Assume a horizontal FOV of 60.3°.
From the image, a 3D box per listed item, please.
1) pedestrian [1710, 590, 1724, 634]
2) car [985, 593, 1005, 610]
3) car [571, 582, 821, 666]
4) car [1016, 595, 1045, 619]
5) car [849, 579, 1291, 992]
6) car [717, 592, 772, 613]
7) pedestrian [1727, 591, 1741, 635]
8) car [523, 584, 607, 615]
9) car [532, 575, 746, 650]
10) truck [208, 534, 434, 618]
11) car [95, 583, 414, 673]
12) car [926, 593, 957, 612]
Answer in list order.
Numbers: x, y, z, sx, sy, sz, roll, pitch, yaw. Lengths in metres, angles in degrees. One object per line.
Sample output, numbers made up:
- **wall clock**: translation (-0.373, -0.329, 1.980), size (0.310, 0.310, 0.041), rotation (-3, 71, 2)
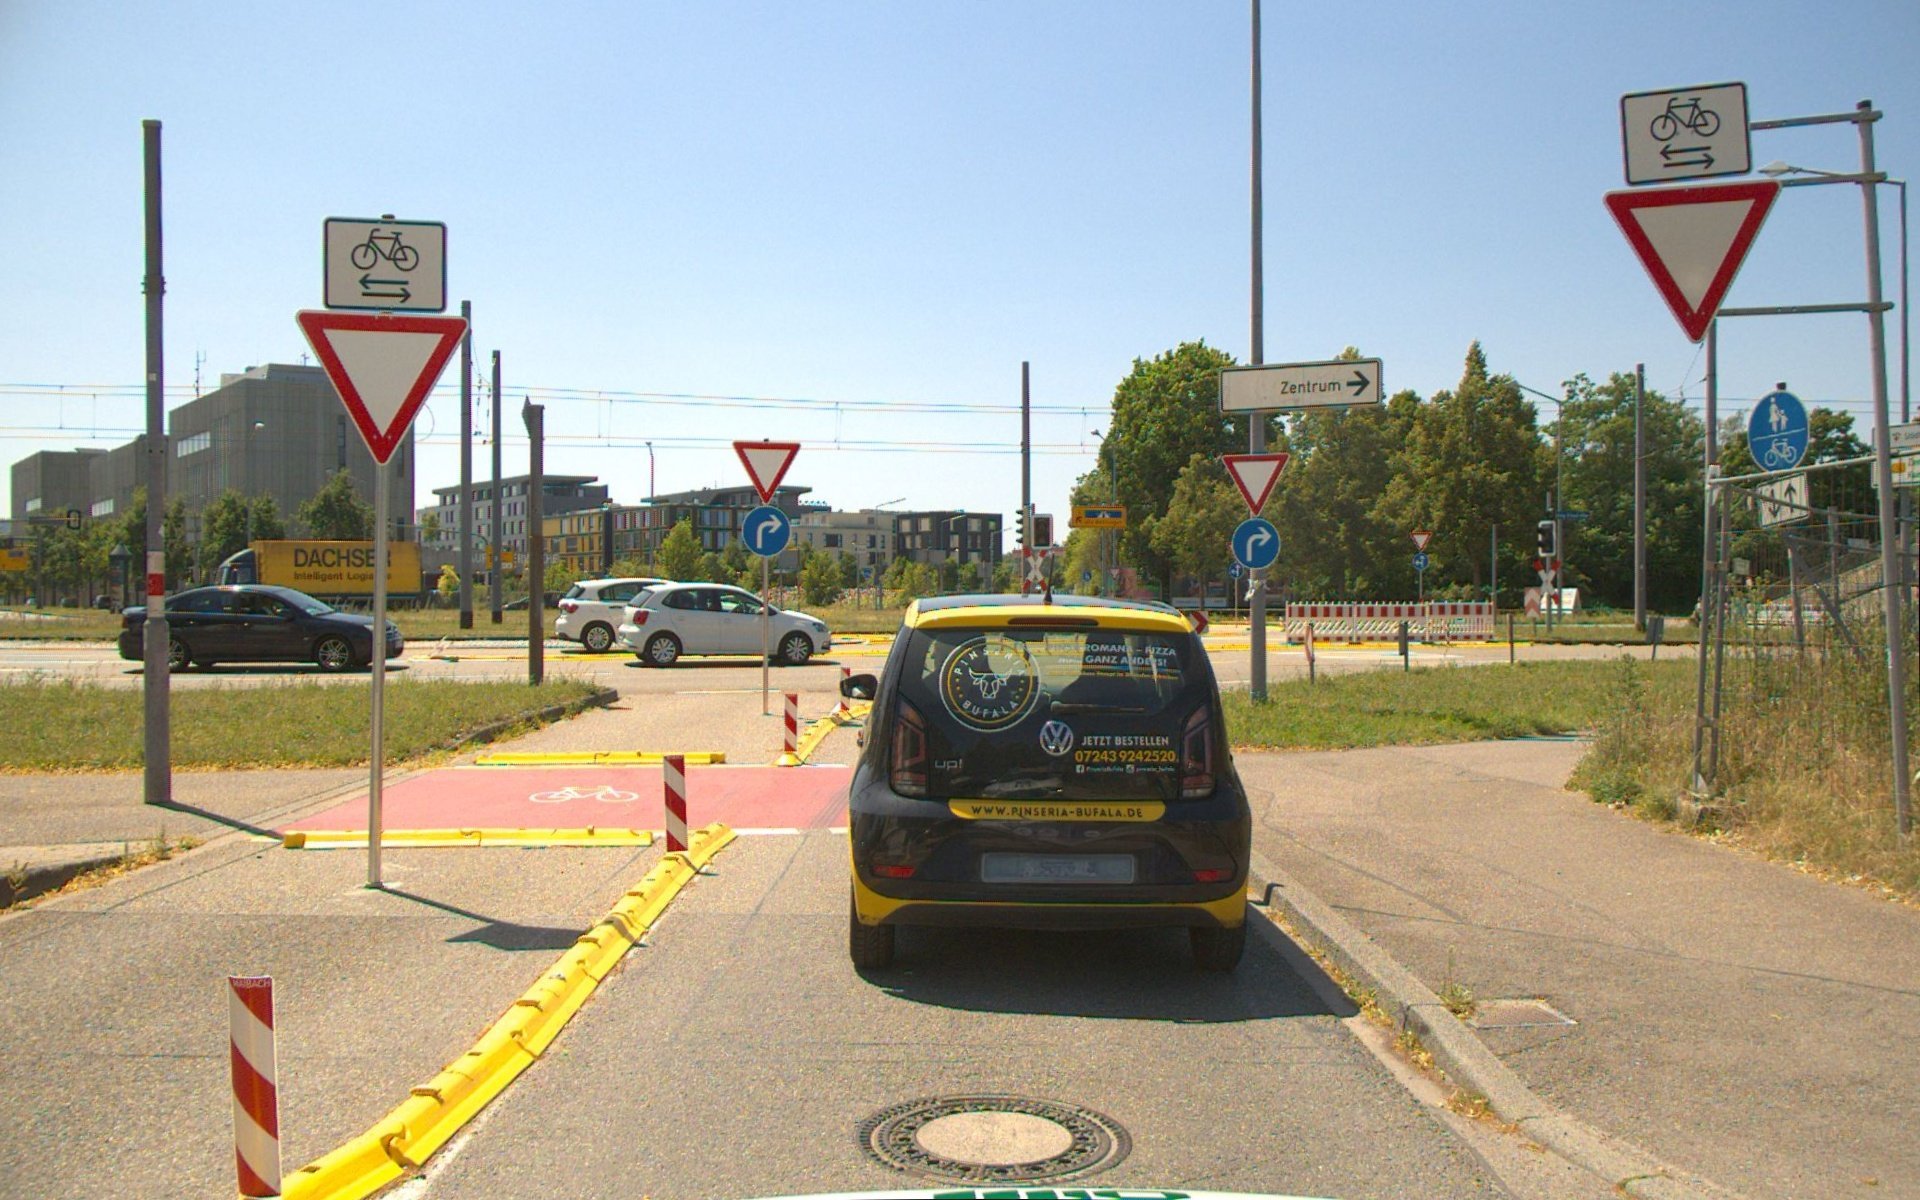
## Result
- **pedestrian**: translation (30.713, 0.497, 67.082), size (0.438, 1.769, 0.291), rotation (0, 0, 11)
- **car**: translation (2.953, 0.098, 139.491), size (1.488, 1.418, 3.285), rotation (0, 0, 4)
- **car**: translation (-4.887, 0.445, 30.588), size (4.276, 1.474, 1.844), rotation (1, 0, -22)
- **car**: translation (4.193, 0.383, 98.540), size (1.623, 1.396, 3.033), rotation (0, 0, 5)
- **car**: translation (0.365, 0.668, 8.002), size (1.586, 1.477, 3.985), rotation (1, 0, -1)
- **car**: translation (-12.094, 0.146, 92.889), size (2.854, 1.175, 1.193), rotation (0, 0, -29)
- **pedestrian**: translation (31.335, 0.508, 66.977), size (0.438, 1.769, 0.318), rotation (0, 0, 11)
- **car**: translation (-19.466, -0.041, 81.585), size (3.966, 1.486, 1.724), rotation (0, 0, -13)
- **car**: translation (-6.692, 0.244, 34.647), size (4.275, 1.512, 1.994), rotation (0, 0, -12)
- **truck**: translation (-29.636, -1.099, 77.028), size (9.504, 3.723, 2.674), rotation (0, 0, -35)
- **car**: translation (-12.100, 0.463, 28.629), size (4.649, 1.474, 1.998), rotation (0, 0, -4)
- **car**: translation (-1.330, 0.179, 118.392), size (1.730, 1.368, 3.324), rotation (0, 0, 9)
